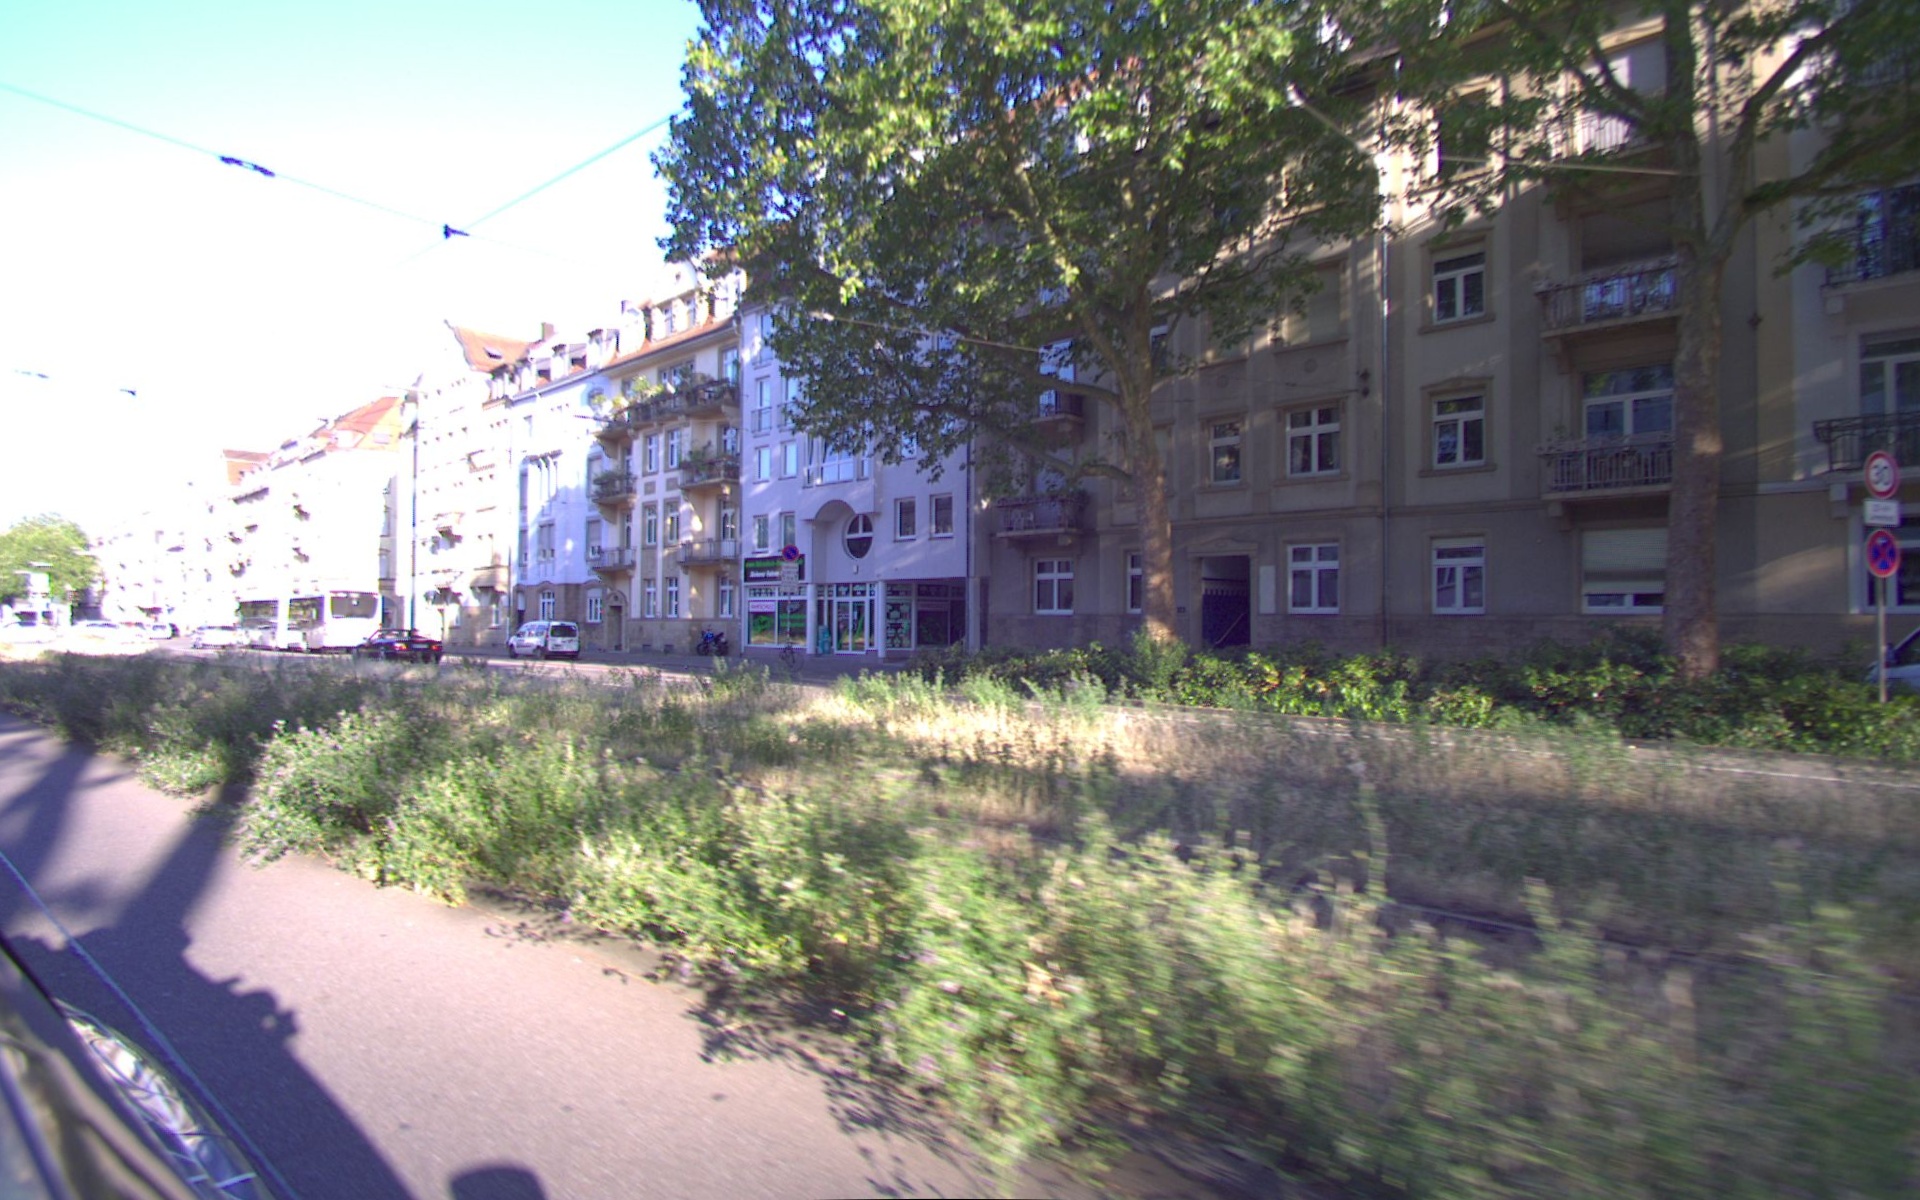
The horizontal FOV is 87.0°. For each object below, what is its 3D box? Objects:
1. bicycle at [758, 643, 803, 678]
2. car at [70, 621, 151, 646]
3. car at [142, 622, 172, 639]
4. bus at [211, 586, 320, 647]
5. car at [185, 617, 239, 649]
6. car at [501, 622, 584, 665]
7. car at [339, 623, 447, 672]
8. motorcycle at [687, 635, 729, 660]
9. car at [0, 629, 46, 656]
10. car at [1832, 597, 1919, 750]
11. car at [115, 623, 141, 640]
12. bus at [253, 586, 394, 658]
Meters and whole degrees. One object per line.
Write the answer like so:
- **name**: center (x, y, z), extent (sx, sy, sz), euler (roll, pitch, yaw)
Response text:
- **bicycle**: center (-6.156, 2.051, 34.622), extent (0.747, 1.040, 1.900), euler (-5, 3, -33)
- **car**: center (-55.867, 2.199, 66.609), extent (3.993, 1.537, 1.784), euler (2, -1, -41)
- **car**: center (-74.753, 2.846, 94.260), extent (1.708, 1.491, 3.826), euler (2, -2, -31)
- **bus**: center (-41.727, 0.951, 60.656), extent (9.899, 3.399, 3.230), euler (0, -1, 43)
- **car**: center (-42.198, 1.853, 57.077), extent (1.907, 1.697, 4.003), euler (2, -1, -44)
- **car**: center (-19.364, 1.971, 46.840), extent (4.655, 1.800, 1.882), euler (0, -1, 45)
- **car**: center (-18.831, 1.544, 33.536), extent (4.699, 1.497, 1.697), euler (-1, -4, 43)
- **motorcycle**: center (-10.936, 2.044, 43.849), extent (2.419, 1.029, 0.522), euler (-1, 0, 42)
- **car**: center (-61.828, 2.728, 65.358), extent (1.836, 1.719, 3.943), euler (0, -1, 43)
- **car**: center (13.956, 0.974, 12.559), extent (1.698, 2.082, 5.245), euler (0, -1, 0)
- **car**: center (-98.867, 3.725, 120.250), extent (4.311, 1.914, 1.893), euler (0, -1, 44)
- **bus**: center (-33.634, 1.061, 53.147), extent (11.977, 3.399, 3.219), euler (0, -1, 43)
